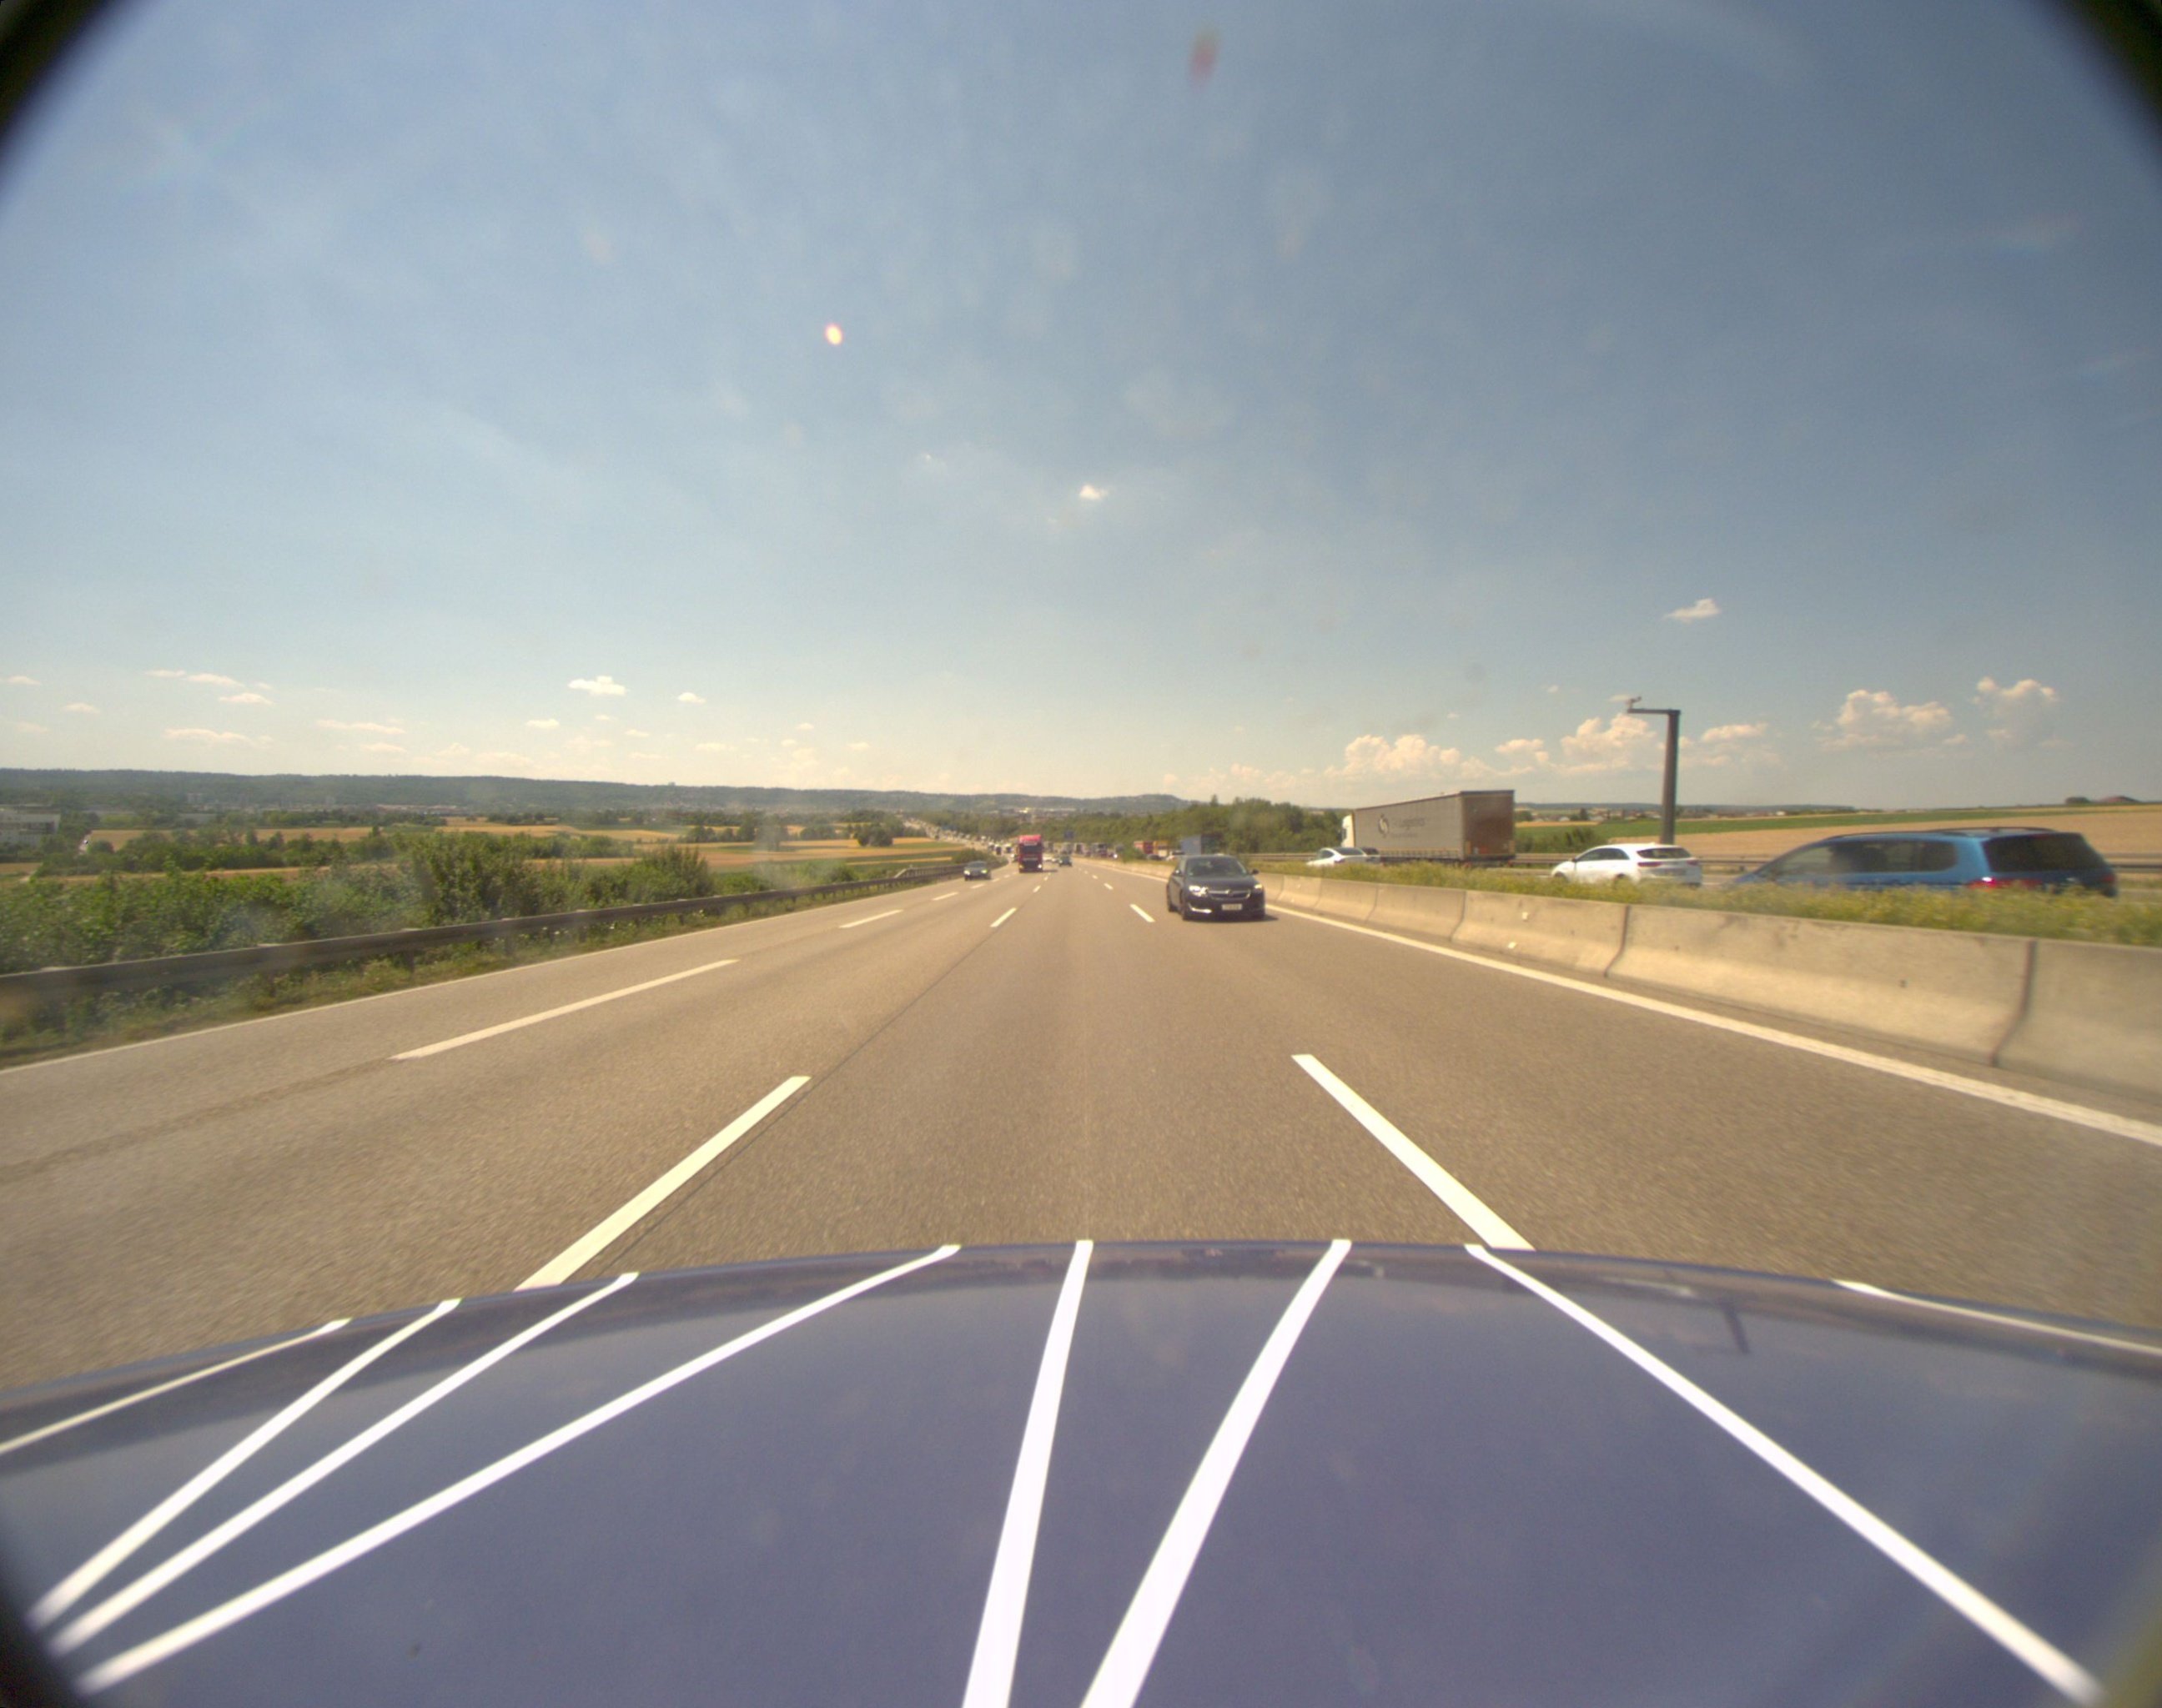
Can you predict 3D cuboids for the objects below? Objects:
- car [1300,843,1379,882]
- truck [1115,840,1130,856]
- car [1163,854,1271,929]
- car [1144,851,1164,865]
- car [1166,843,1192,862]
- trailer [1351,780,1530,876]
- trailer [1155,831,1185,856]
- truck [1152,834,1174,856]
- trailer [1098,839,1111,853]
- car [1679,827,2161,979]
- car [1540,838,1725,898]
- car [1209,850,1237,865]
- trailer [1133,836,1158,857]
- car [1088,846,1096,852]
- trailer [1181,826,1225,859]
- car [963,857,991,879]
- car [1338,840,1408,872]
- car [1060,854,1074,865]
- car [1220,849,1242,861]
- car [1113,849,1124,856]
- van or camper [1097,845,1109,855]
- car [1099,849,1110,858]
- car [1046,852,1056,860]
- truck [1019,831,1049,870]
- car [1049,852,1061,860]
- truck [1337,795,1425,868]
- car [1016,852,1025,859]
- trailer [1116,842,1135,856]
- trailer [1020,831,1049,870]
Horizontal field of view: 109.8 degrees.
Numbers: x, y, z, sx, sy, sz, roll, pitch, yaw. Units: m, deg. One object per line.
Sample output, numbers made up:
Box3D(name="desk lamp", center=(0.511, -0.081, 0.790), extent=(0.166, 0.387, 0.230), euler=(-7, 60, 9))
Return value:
Box3D(name="car", center=(11.321, 0.338, 33.661), extent=(1.884, 1.562, 4.588), euler=(-2, 0, 0))
Box3D(name="truck", center=(10.547, -1.605, 194.659), extent=(2.909, 3.854, 6.174), euler=(-2, 1, -5))
Box3D(name="car", center=(3.140, 0.789, 18.523), extent=(1.807, 1.534, 4.749), euler=(-2, 0, 1))
Box3D(name="car", center=(9.617, 0.547, 100.425), extent=(1.999, 1.663, 4.476), euler=(-2, 0, -2))
Box3D(name="car", center=(10.590, -0.211, 82.344), extent=(1.999, 1.893, 5.675), euler=(-2, 1, -1))
Box3D(name="trailer", center=(19.163, -1.273, 42.305), extent=(3.131, 4.299, 14.542), euler=(-2, 1, 1))
Box3D(name="trailer", center=(15.465, -1.769, 133.732), extent=(2.961, 4.076, 14.377), euler=(-2, 0, -2))
Box3D(name="truck", center=(15.165, -1.601, 140.954), extent=(2.758, 3.815, 7.096), euler=(-2, 0, -2))
Box3D(name="trailer", center=(7.284, -2.347, 235.046), extent=(2.995, 4.169, 8.589), euler=(-2, 1, -5))
Box3D(name="car", center=(11.718, 0.541, 11.109), extent=(1.999, 1.657, 4.963), euler=(-2, 0, 0))
Box3D(name="car", center=(15.305, 0.327, 21.460), extent=(1.871, 1.448, 4.572), euler=(-2, 1, 0))
Box3D(name="car", center=(14.297, 0.343, 76.764), extent=(1.848, 1.452, 4.490), euler=(-2, 0, -2))
Box3D(name="trailer", center=(13.480, -1.649, 159.453), extent=(3.094, 4.077, 14.374), euler=(-2, 1, -3))
Box3D(name="car", center=(3.552, -1.548, 241.868), extent=(1.919, 1.762, 4.759), euler=(-2, 1, -6))
Box3D(name="trailer", center=(16.922, -1.619, 106.744), extent=(3.170, 4.170, 14.375), euler=(-3, 1, -2))
Box3D(name="car", center=(-8.069, 1.055, 59.440), extent=(2.038, 1.543, 3.997), euler=(-2, 0, -6))
Box3D(name="car", center=(15.681, 0.098, 41.132), extent=(1.999, 1.578, 4.588), euler=(-1, 1, 0))
Box3D(name="car", center=(-2.125, 0.791, 112.966), extent=(1.866, 1.426, 3.996), euler=(-1, 2, -4))
Box3D(name="car", center=(17.983, 0.097, 91.331), extent=(1.662, 1.377, 4.349), euler=(-2, 0, -2))
Box3D(name="car", center=(8.423, -0.304, 172.219), extent=(1.919, 1.532, 5.740), euler=(-2, 1, -4))
Box3D(name="van or camper", center=(5.972, -1.118, 206.882), extent=(2.318, 2.572, 7.139), euler=(-2, 1, -4))
Box3D(name="car", center=(5.137, -0.171, 168.340), extent=(1.919, 1.958, 5.444), euler=(-2, 1, -4))
Box3D(name="car", center=(-6.922, 0.510, 177.166), extent=(1.999, 1.467, 3.996), euler=(-2, 3, -6))
Box3D(name="truck", center=(-5.082, -0.406, 82.753), extent=(2.924, 3.986, 6.507), euler=(-2, 2, -2))
Box3D(name="car", center=(-5.123, 0.416, 148.816), extent=(1.867, 1.322, 3.995), euler=(-2, 2, -8))
Box3D(name="truck", center=(19.215, -1.413, 49.117), extent=(3.140, 4.303, 6.146), euler=(-2, 1, 0))
Box3D(name="car", center=(-14.241, 0.380, 179.968), extent=(1.999, 1.467, 3.997), euler=(-2, 3, -3))
Box3D(name="trailer", center=(10.911, -1.203, 188.178), extent=(2.866, 3.187, 12.775), euler=(-2, 1, -5))
Box3D(name="trailer", center=(-5.387, -0.556, 89.686), extent=(2.926, 4.094, 13.851), euler=(-2, 2, -2))
